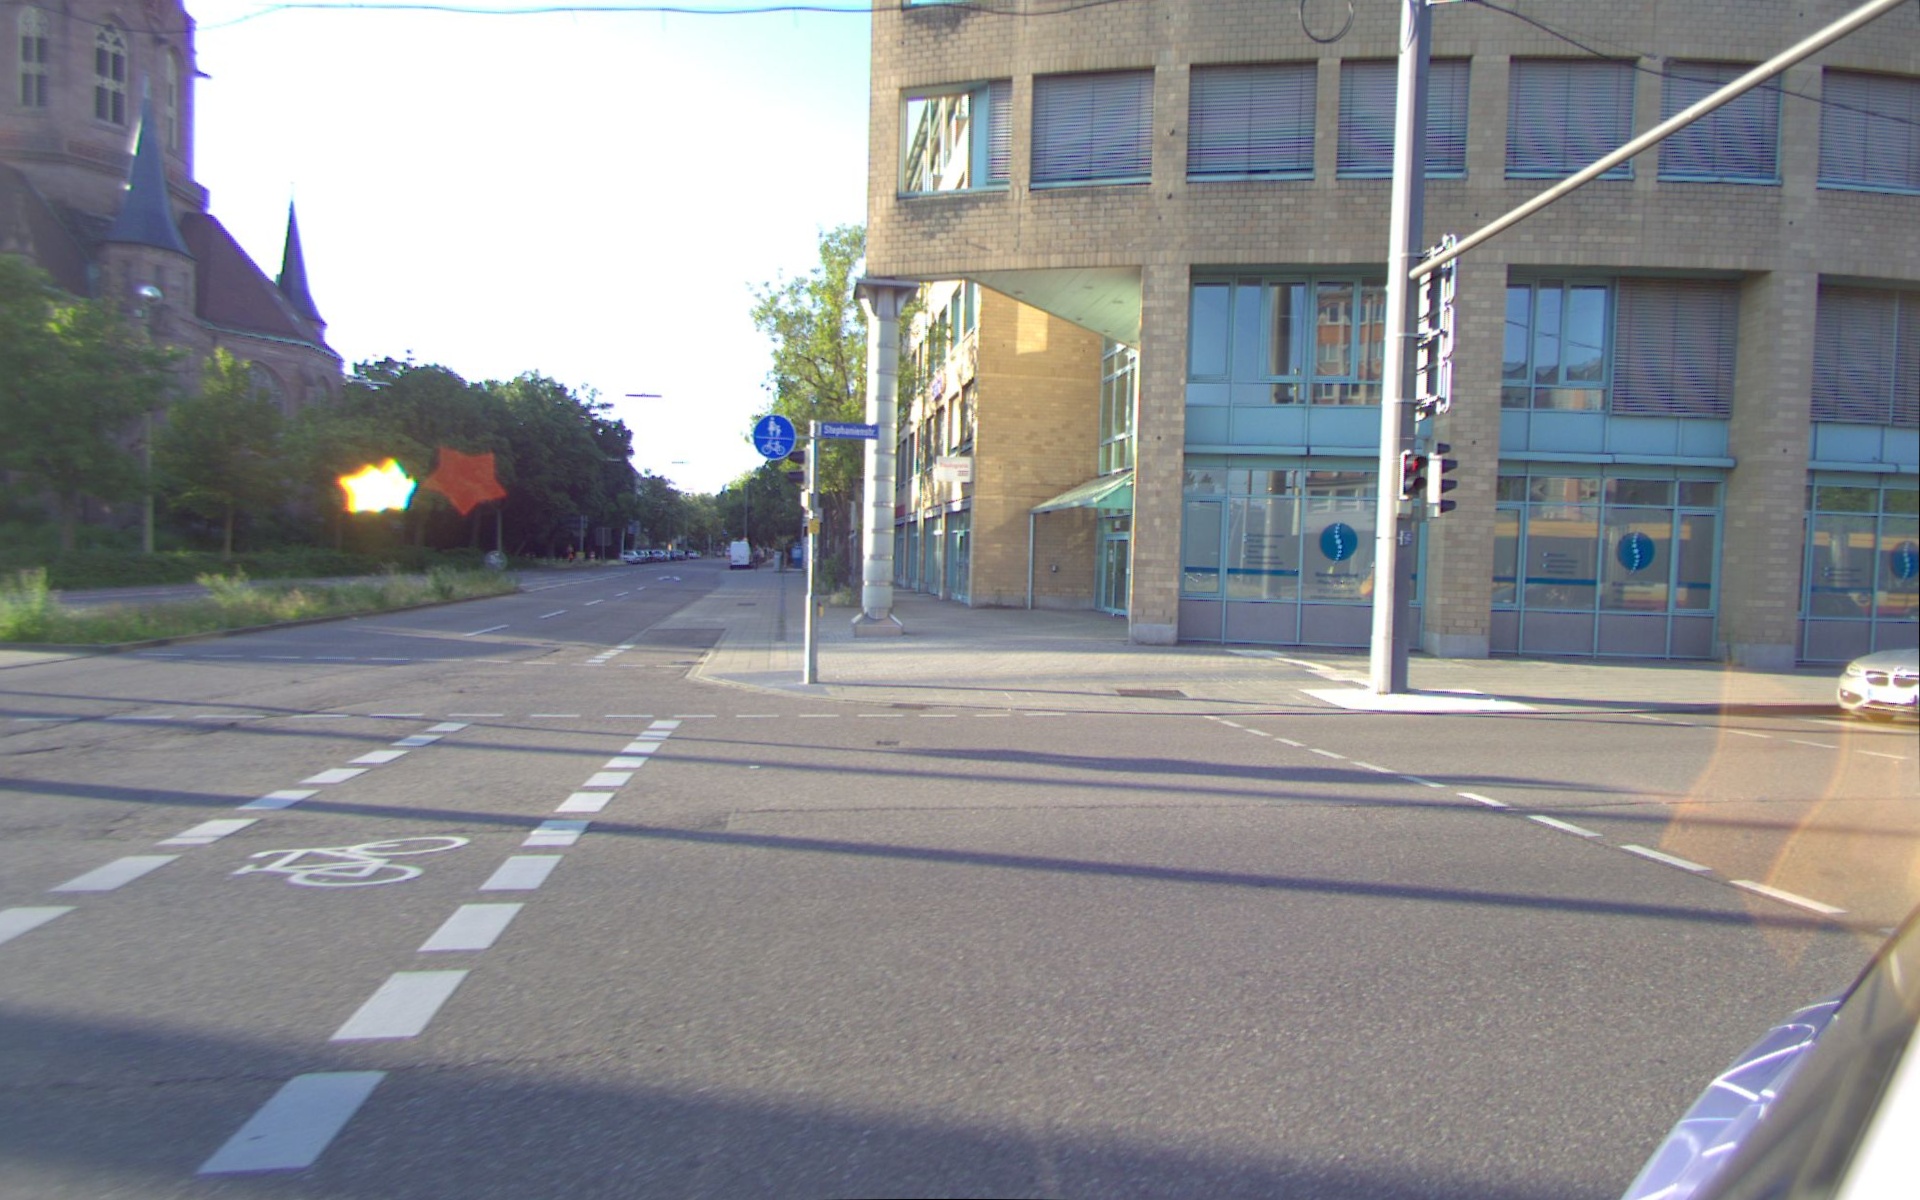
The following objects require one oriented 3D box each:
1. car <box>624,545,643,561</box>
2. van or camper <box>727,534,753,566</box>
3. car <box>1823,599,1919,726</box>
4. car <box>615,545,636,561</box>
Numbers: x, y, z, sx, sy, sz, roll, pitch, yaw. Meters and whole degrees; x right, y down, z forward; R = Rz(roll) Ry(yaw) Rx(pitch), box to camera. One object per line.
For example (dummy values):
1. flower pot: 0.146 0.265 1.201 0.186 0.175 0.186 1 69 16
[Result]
1. car: -35.814 -5.194 111.058 1.958 1.678 4.010 1 2 -18
2. van or camper: -20.905 -4.739 96.470 2.111 2.877 4.413 1 2 -9
3. car: 13.012 0.770 12.129 4.140 1.402 1.753 1 2 -10
4. car: -35.048 -4.933 106.230 1.867 1.637 4.010 1 2 -15
